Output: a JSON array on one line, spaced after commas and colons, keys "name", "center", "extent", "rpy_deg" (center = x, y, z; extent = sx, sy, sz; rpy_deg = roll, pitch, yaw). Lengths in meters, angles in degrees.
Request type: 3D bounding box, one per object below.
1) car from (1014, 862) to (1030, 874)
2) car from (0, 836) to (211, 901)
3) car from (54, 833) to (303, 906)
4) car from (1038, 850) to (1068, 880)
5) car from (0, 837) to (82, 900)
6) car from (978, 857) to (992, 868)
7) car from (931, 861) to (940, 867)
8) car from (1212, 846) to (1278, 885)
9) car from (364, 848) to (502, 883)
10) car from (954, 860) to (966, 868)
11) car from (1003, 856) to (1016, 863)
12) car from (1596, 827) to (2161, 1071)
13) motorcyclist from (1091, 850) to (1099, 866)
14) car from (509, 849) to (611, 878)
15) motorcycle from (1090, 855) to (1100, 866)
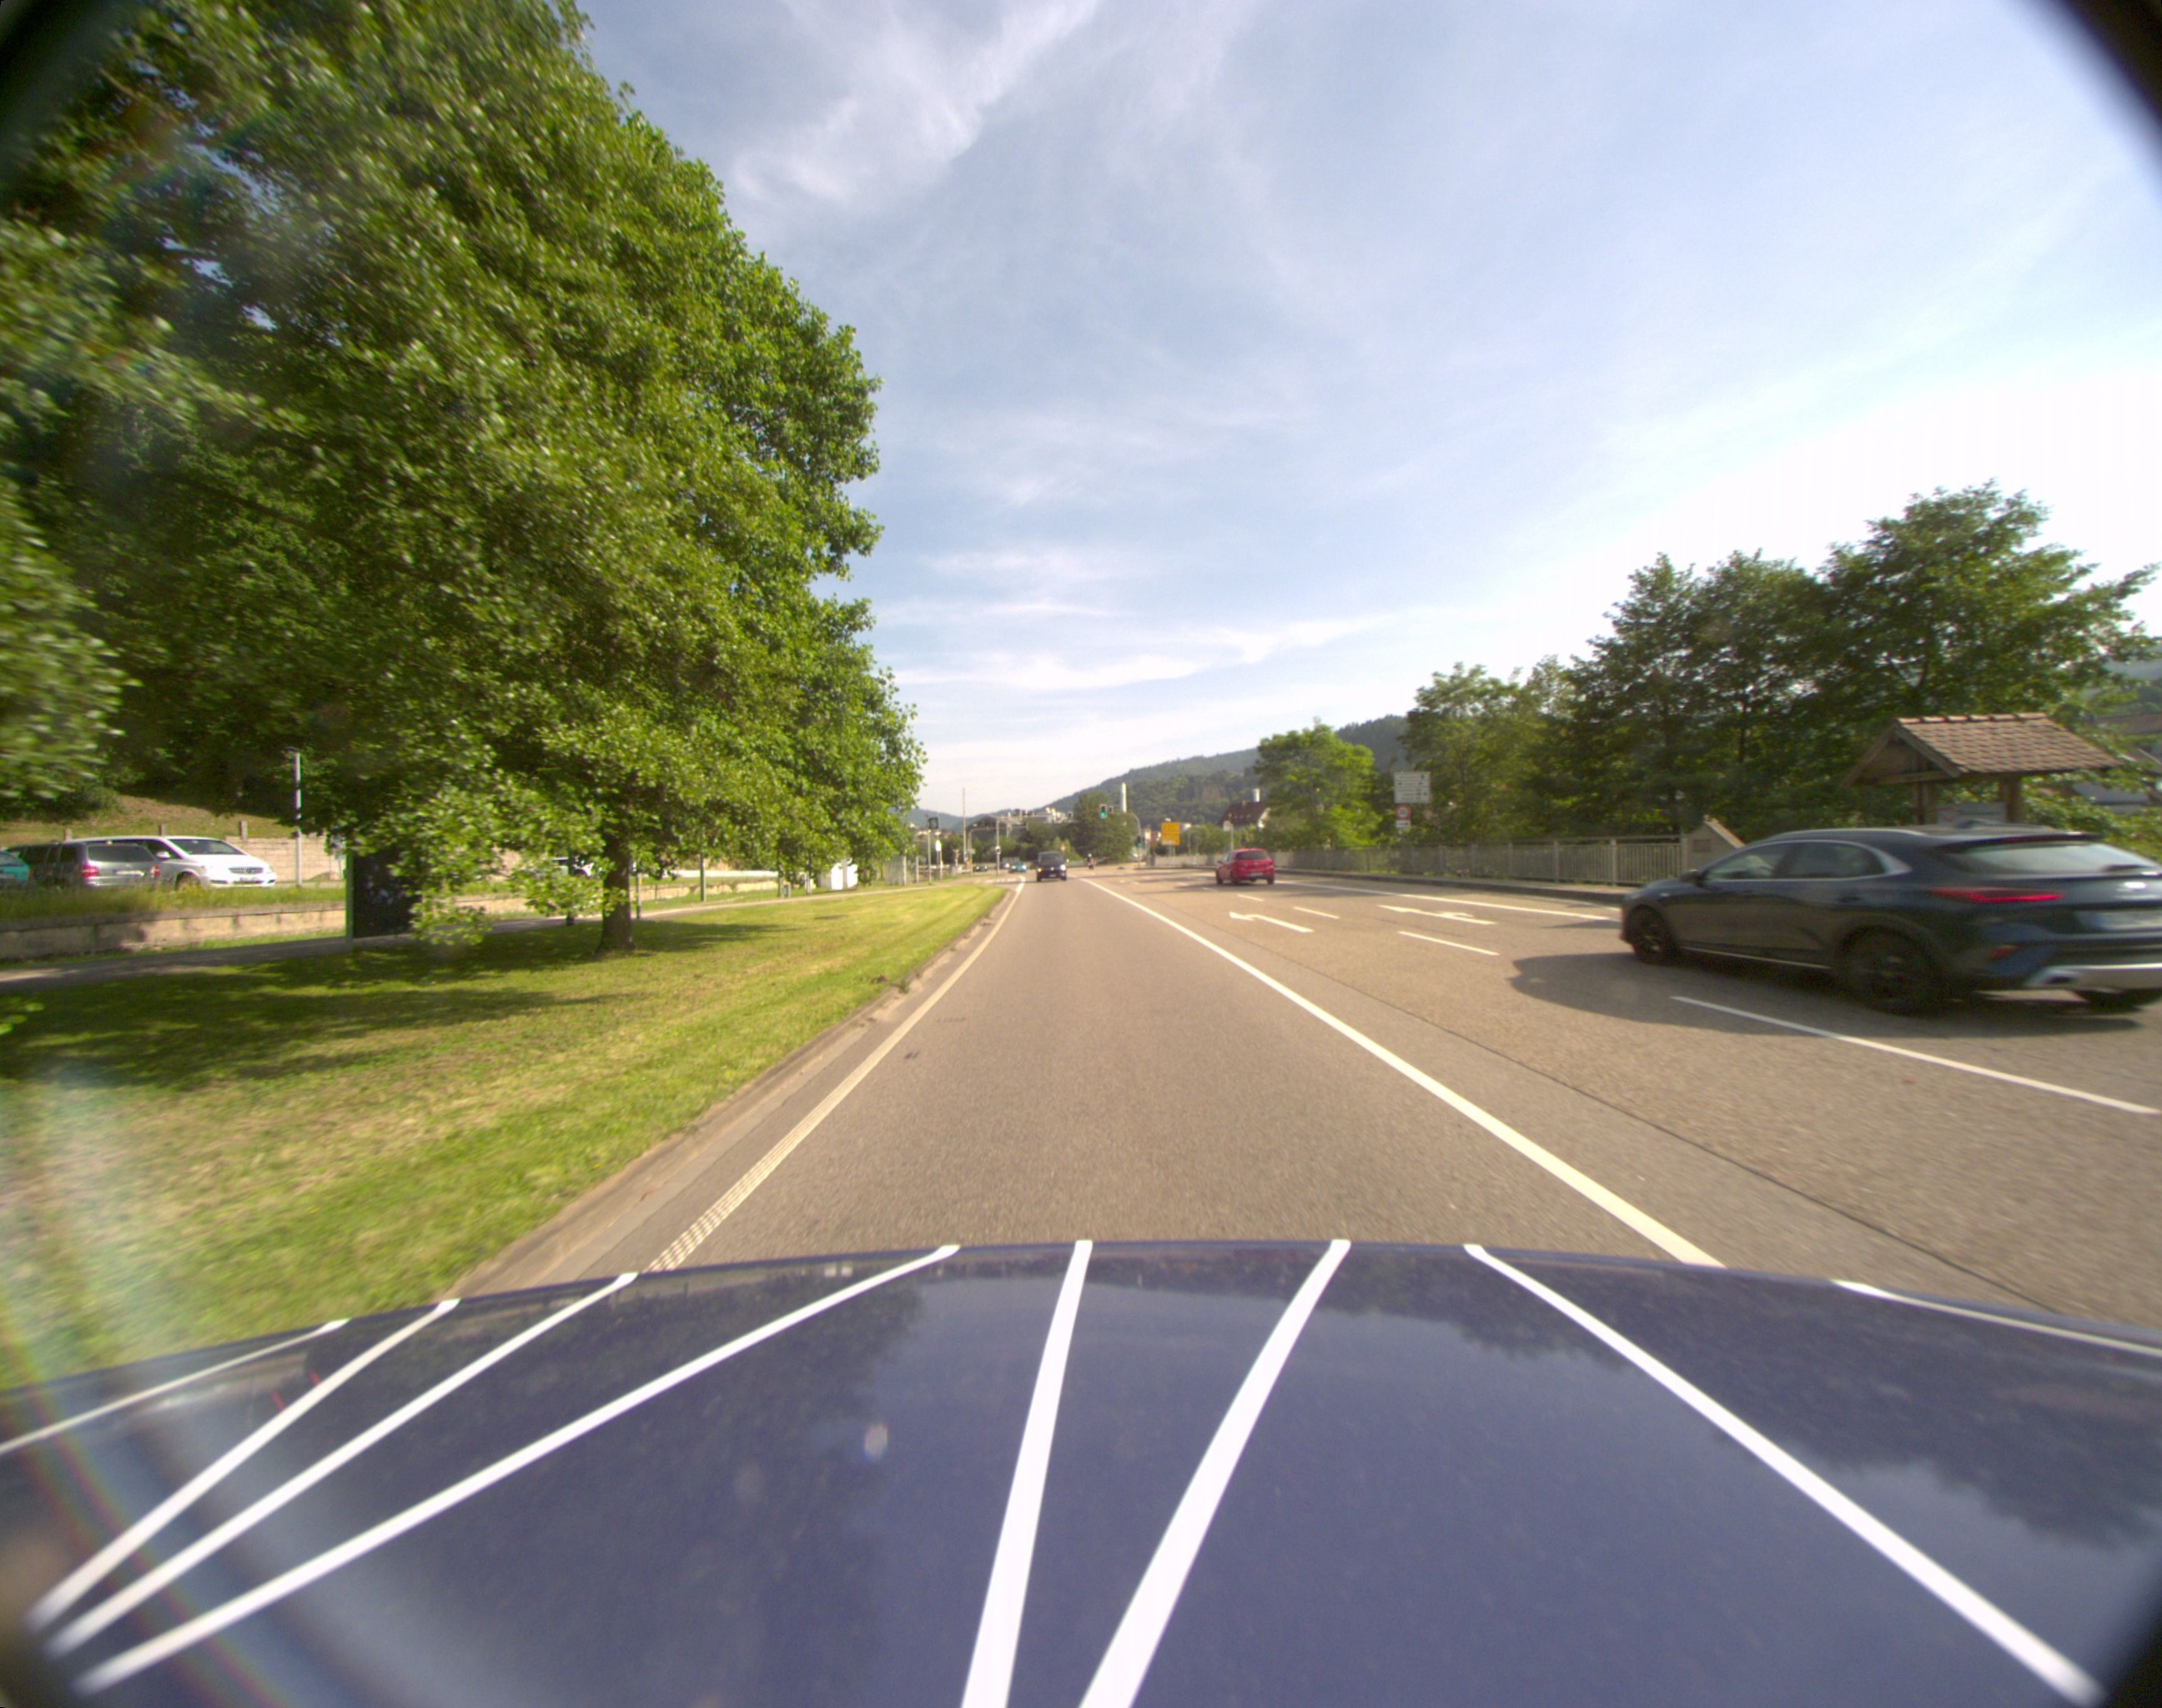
[{"name": "car", "center": [-7.351, 1.740, 94.687], "extent": [1.768, 1.452, 3.575], "rpy_deg": [0, 0, -3]}, {"name": "car", "center": [-27.230, 0.403, 20.526], "extent": [4.963, 1.578, 2.141], "rpy_deg": [-2, 0, 1]}, {"name": "car", "center": [-27.060, 0.459, 22.924], "extent": [4.963, 1.932, 2.141], "rpy_deg": [-2, 0, 1]}, {"name": "car", "center": [-1.817, 0.704, 50.364], "extent": [1.909, 1.868, 4.347], "rpy_deg": [0, 0, -1]}, {"name": "car", "center": [-27.325, 0.418, 17.961], "extent": [4.963, 1.460, 1.895], "rpy_deg": [-2, 0, 1]}, {"name": "car", "center": [-16.080, 1.443, 127.233], "extent": [2.001, 1.783, 3.995], "rpy_deg": [-1, 0, -13]}, {"name": "car", "center": [-35.571, 2.412, 185.549], "extent": [1.652, 1.224, 4.087], "rpy_deg": [-2, 0, -20]}, {"name": "car", "center": [6.822, 0.452, 31.989], "extent": [1.680, 1.451, 4.201], "rpy_deg": [-3, 0, -2]}, {"name": "car", "center": [-27.582, 0.485, 32.423], "extent": [4.275, 1.335, 1.831], "rpy_deg": [-2, 0, 1]}, {"name": "car", "center": [-23.624, 1.869, 148.804], "extent": [1.879, 1.452, 3.724], "rpy_deg": [0, 0, -16]}, {"name": "car", "center": [-13.233, 1.019, 139.753], "extent": [1.777, 1.369, 4.638], "rpy_deg": [-1, 0, -13]}, {"name": "car", "center": [7.167, 0.577, 6.999], "extent": [1.855, 1.461, 4.543], "rpy_deg": [-3, 0, 3]}, {"name": "motorcyclist", "center": [1.647, 0.496, 89.654], "extent": [0.847, 1.774, 1.171], "rpy_deg": [-3, 0, -3]}, {"name": "car", "center": [-27.542, 0.482, 40.273], "extent": [4.106, 1.390, 1.810], "rpy_deg": [-2, 0, 1]}, {"name": "motorcycle", "center": [1.664, 0.755, 89.628], "extent": [0.975, 1.214, 2.571], "rpy_deg": [-3, 0, -3]}]
